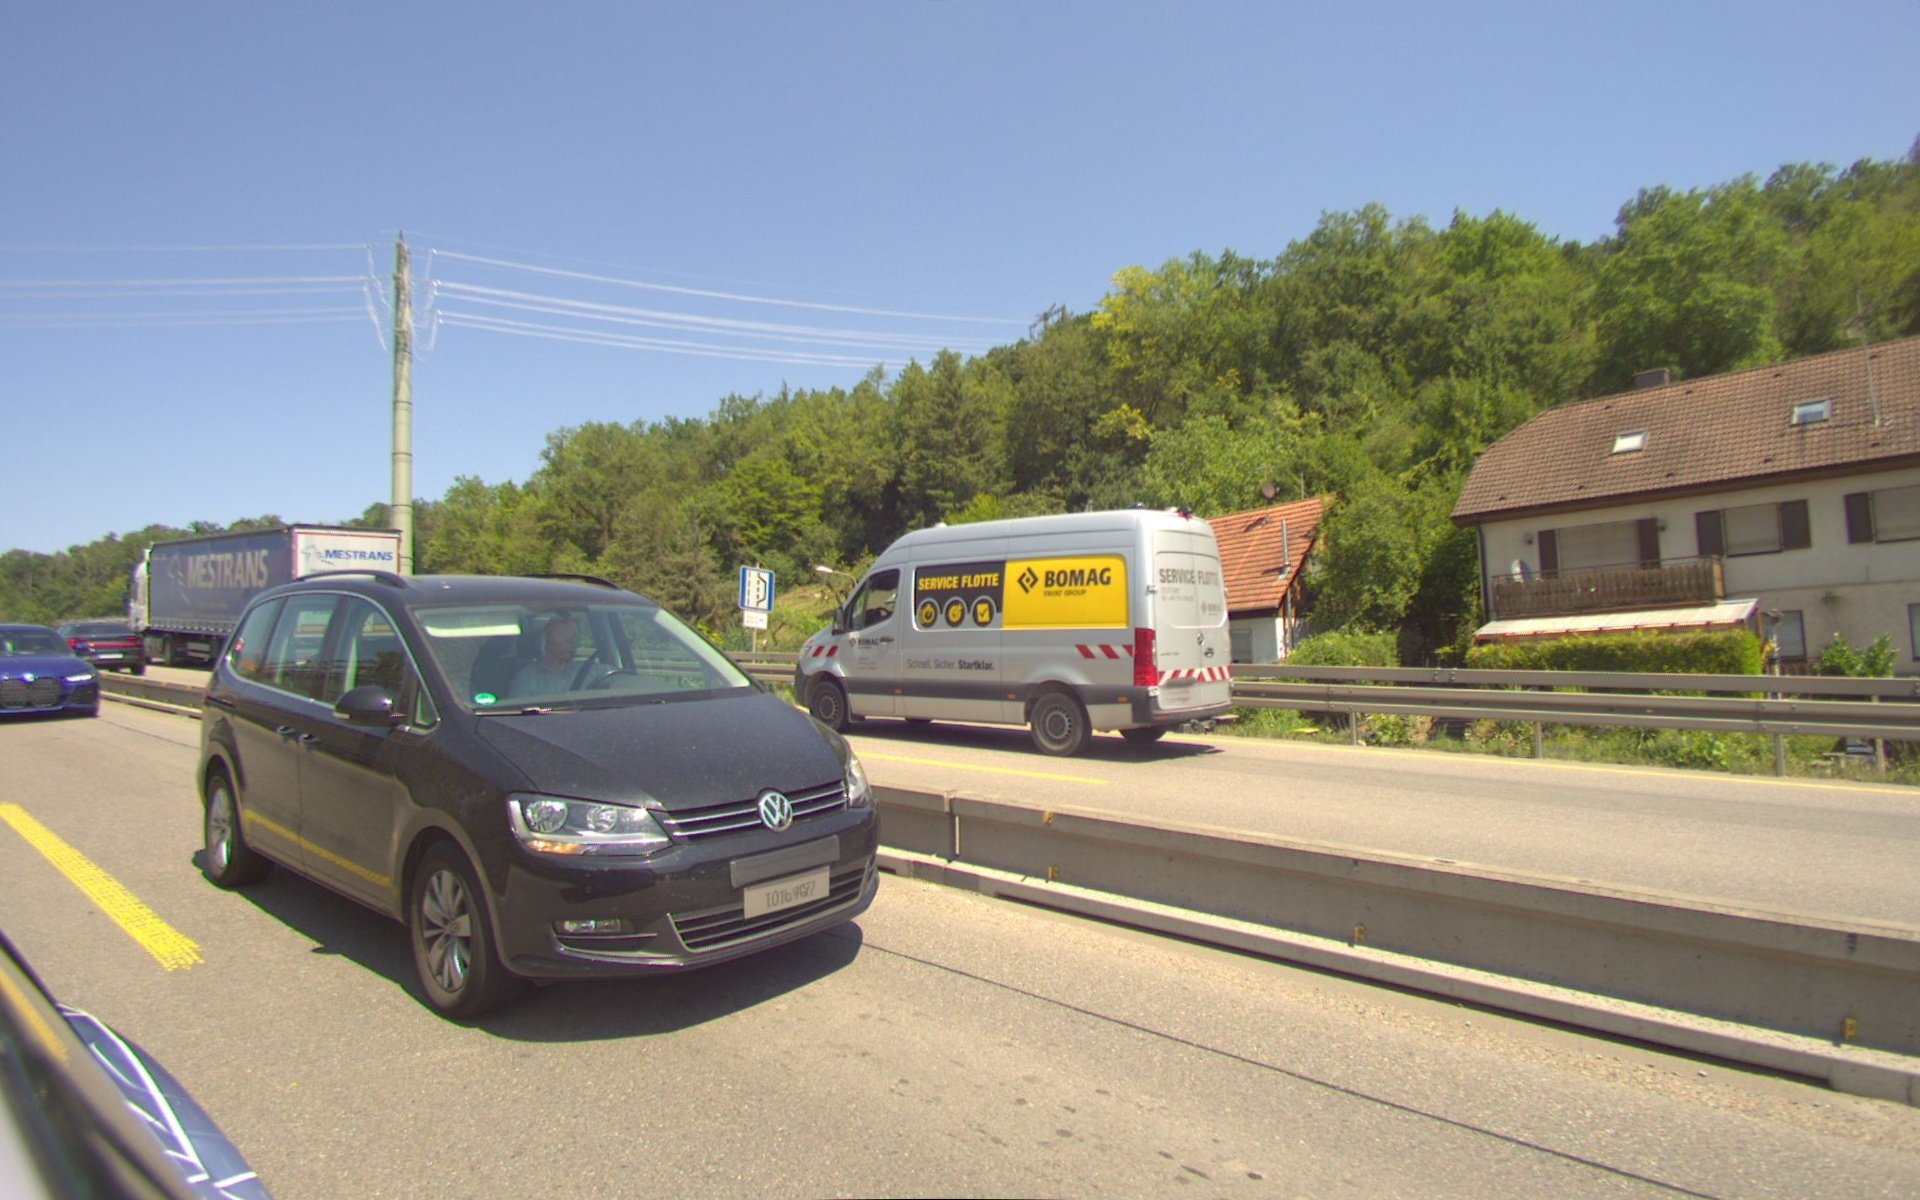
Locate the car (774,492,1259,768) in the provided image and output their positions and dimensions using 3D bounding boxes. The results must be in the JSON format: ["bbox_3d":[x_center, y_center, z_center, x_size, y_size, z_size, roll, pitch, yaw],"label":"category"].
[{"bbox_3d":[0.384,0.365,12.368,5.976,2.623,1.984,-2,-2,41],"label":"car"}]

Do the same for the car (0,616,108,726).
[{"bbox_3d":[-15.351,1.080,16.181,4.782,1.567,1.872,-2,-2,40],"label":"car"}]

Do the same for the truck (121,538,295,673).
[{"bbox_3d":[-25.535,0.255,34.264,6.871,4.111,3.104,-2,-2,39],"label":"truck"}]

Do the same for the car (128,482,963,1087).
[{"bbox_3d":[-2.594,0.595,5.315,5.300,1.719,1.837,-2,-2,40],"label":"car"}]

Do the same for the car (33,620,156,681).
[{"bbox_3d":[-24.205,1.363,28.241,4.554,1.558,1.832,-2,-2,39],"label":"car"}]

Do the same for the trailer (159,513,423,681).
[{"bbox_3d":[-19.984,0.087,29.734,11.805,4.111,3.104,-2,-2,39],"label":"trailer"}]

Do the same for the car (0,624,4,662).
[{"bbox_3d":[-41.195,1.806,41.917,4.183,1.547,1.656,-2,-2,37],"label":"car"}]
